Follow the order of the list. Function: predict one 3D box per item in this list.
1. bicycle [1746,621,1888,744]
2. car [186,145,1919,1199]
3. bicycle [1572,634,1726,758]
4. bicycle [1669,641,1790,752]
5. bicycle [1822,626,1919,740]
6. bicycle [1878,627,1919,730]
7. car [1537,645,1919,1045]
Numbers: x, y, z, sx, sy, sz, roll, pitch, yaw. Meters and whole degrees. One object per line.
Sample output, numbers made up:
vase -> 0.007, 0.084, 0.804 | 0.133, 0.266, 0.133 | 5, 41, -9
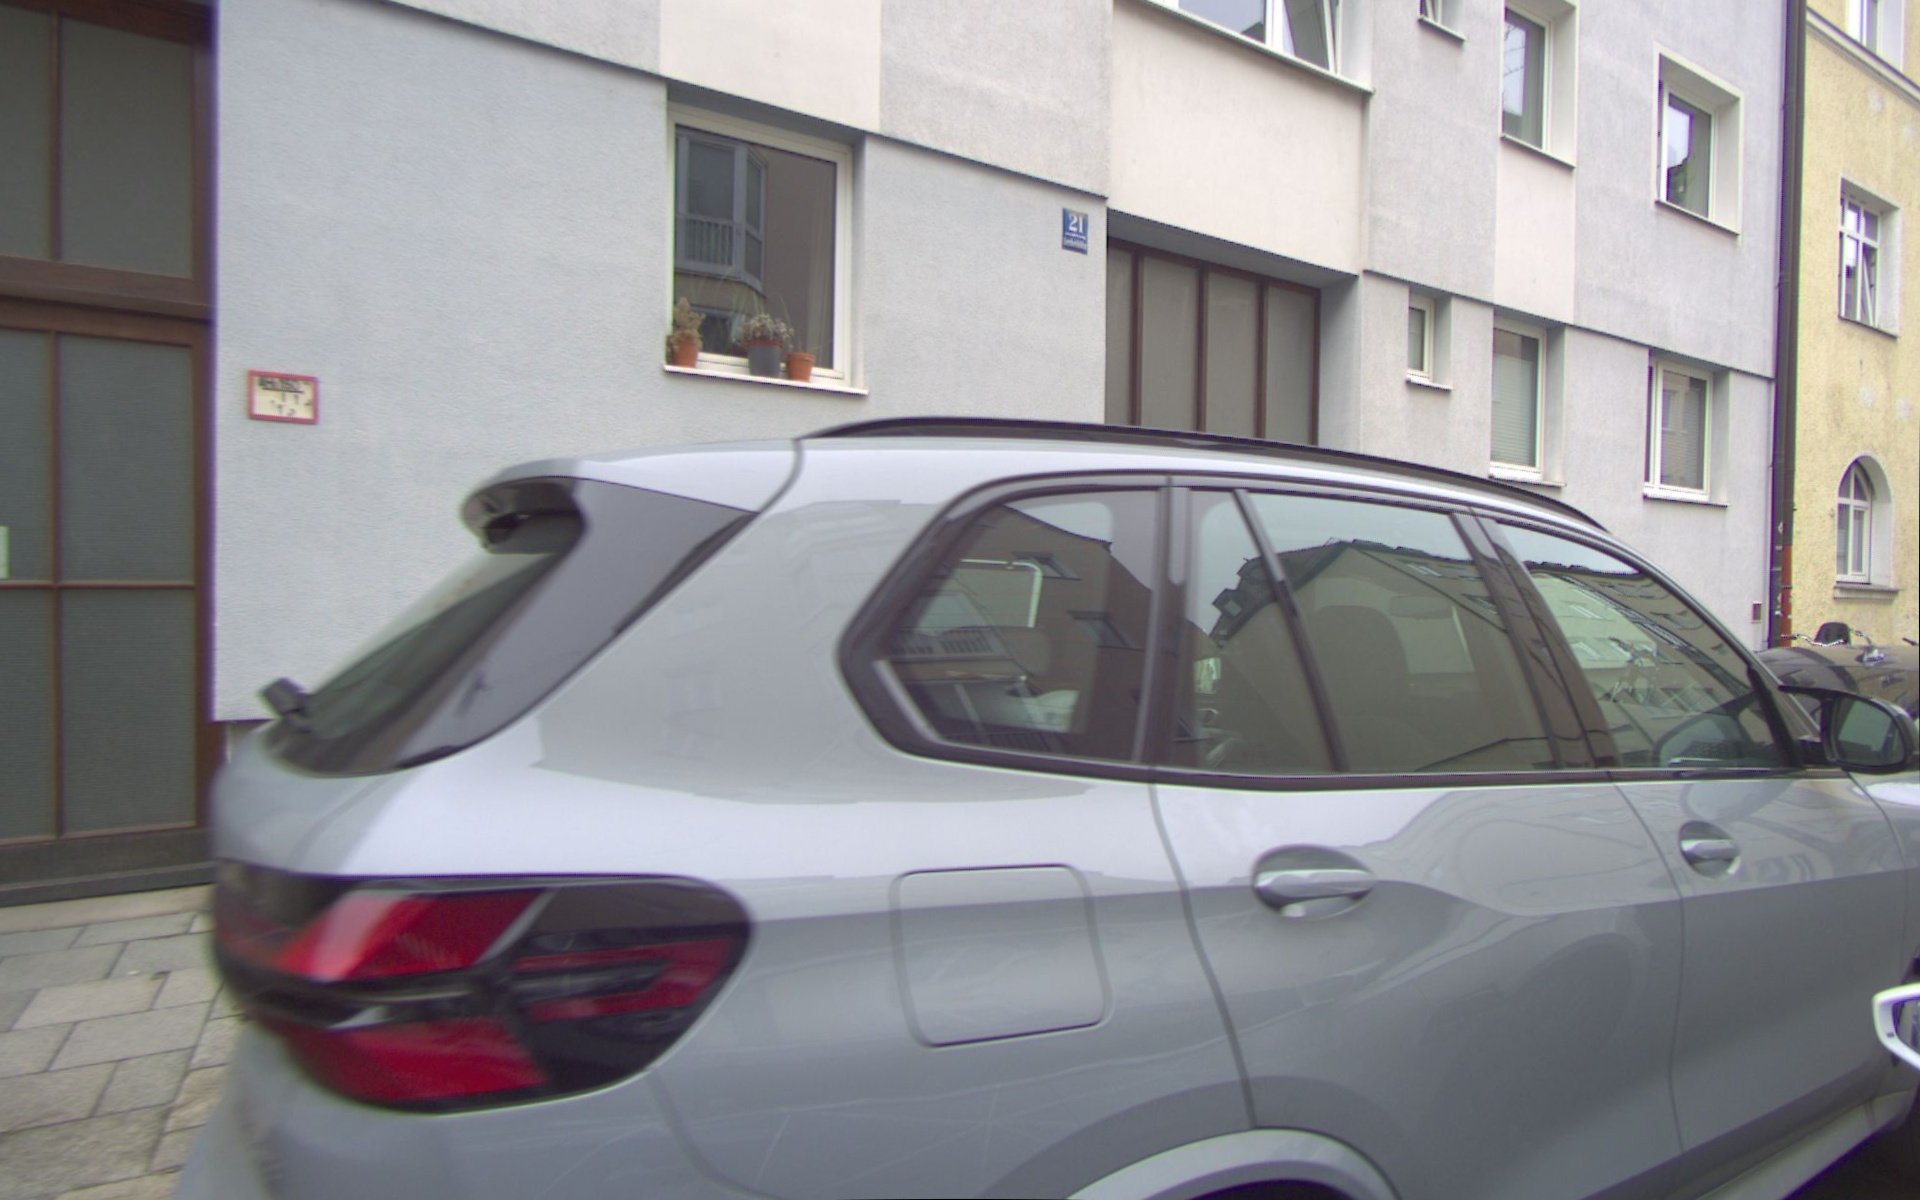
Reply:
bicycle -> 9.477, 0.877, 11.098 | 1.716, 1.250, 0.633 | 1, 1, -30
car -> 1.043, 0.644, 2.644 | 4.682, 1.793, 1.853 | 0, -1, -32
bicycle -> 6.406, 0.853, 9.317 | 1.552, 1.044, 0.542 | 1, 1, -30
bicycle -> 7.881, 0.956, 10.270 | 1.552, 1.044, 0.393 | 1, 1, -31
bicycle -> 11.020, 0.956, 11.971 | 1.716, 1.250, 0.590 | 1, 1, -31
bicycle -> 12.556, 0.998, 12.922 | 1.716, 1.250, 0.590 | 1, 1, -31
car -> 5.012, 0.956, 5.139 | 4.203, 1.404, 1.802 | 1, -2, -31
